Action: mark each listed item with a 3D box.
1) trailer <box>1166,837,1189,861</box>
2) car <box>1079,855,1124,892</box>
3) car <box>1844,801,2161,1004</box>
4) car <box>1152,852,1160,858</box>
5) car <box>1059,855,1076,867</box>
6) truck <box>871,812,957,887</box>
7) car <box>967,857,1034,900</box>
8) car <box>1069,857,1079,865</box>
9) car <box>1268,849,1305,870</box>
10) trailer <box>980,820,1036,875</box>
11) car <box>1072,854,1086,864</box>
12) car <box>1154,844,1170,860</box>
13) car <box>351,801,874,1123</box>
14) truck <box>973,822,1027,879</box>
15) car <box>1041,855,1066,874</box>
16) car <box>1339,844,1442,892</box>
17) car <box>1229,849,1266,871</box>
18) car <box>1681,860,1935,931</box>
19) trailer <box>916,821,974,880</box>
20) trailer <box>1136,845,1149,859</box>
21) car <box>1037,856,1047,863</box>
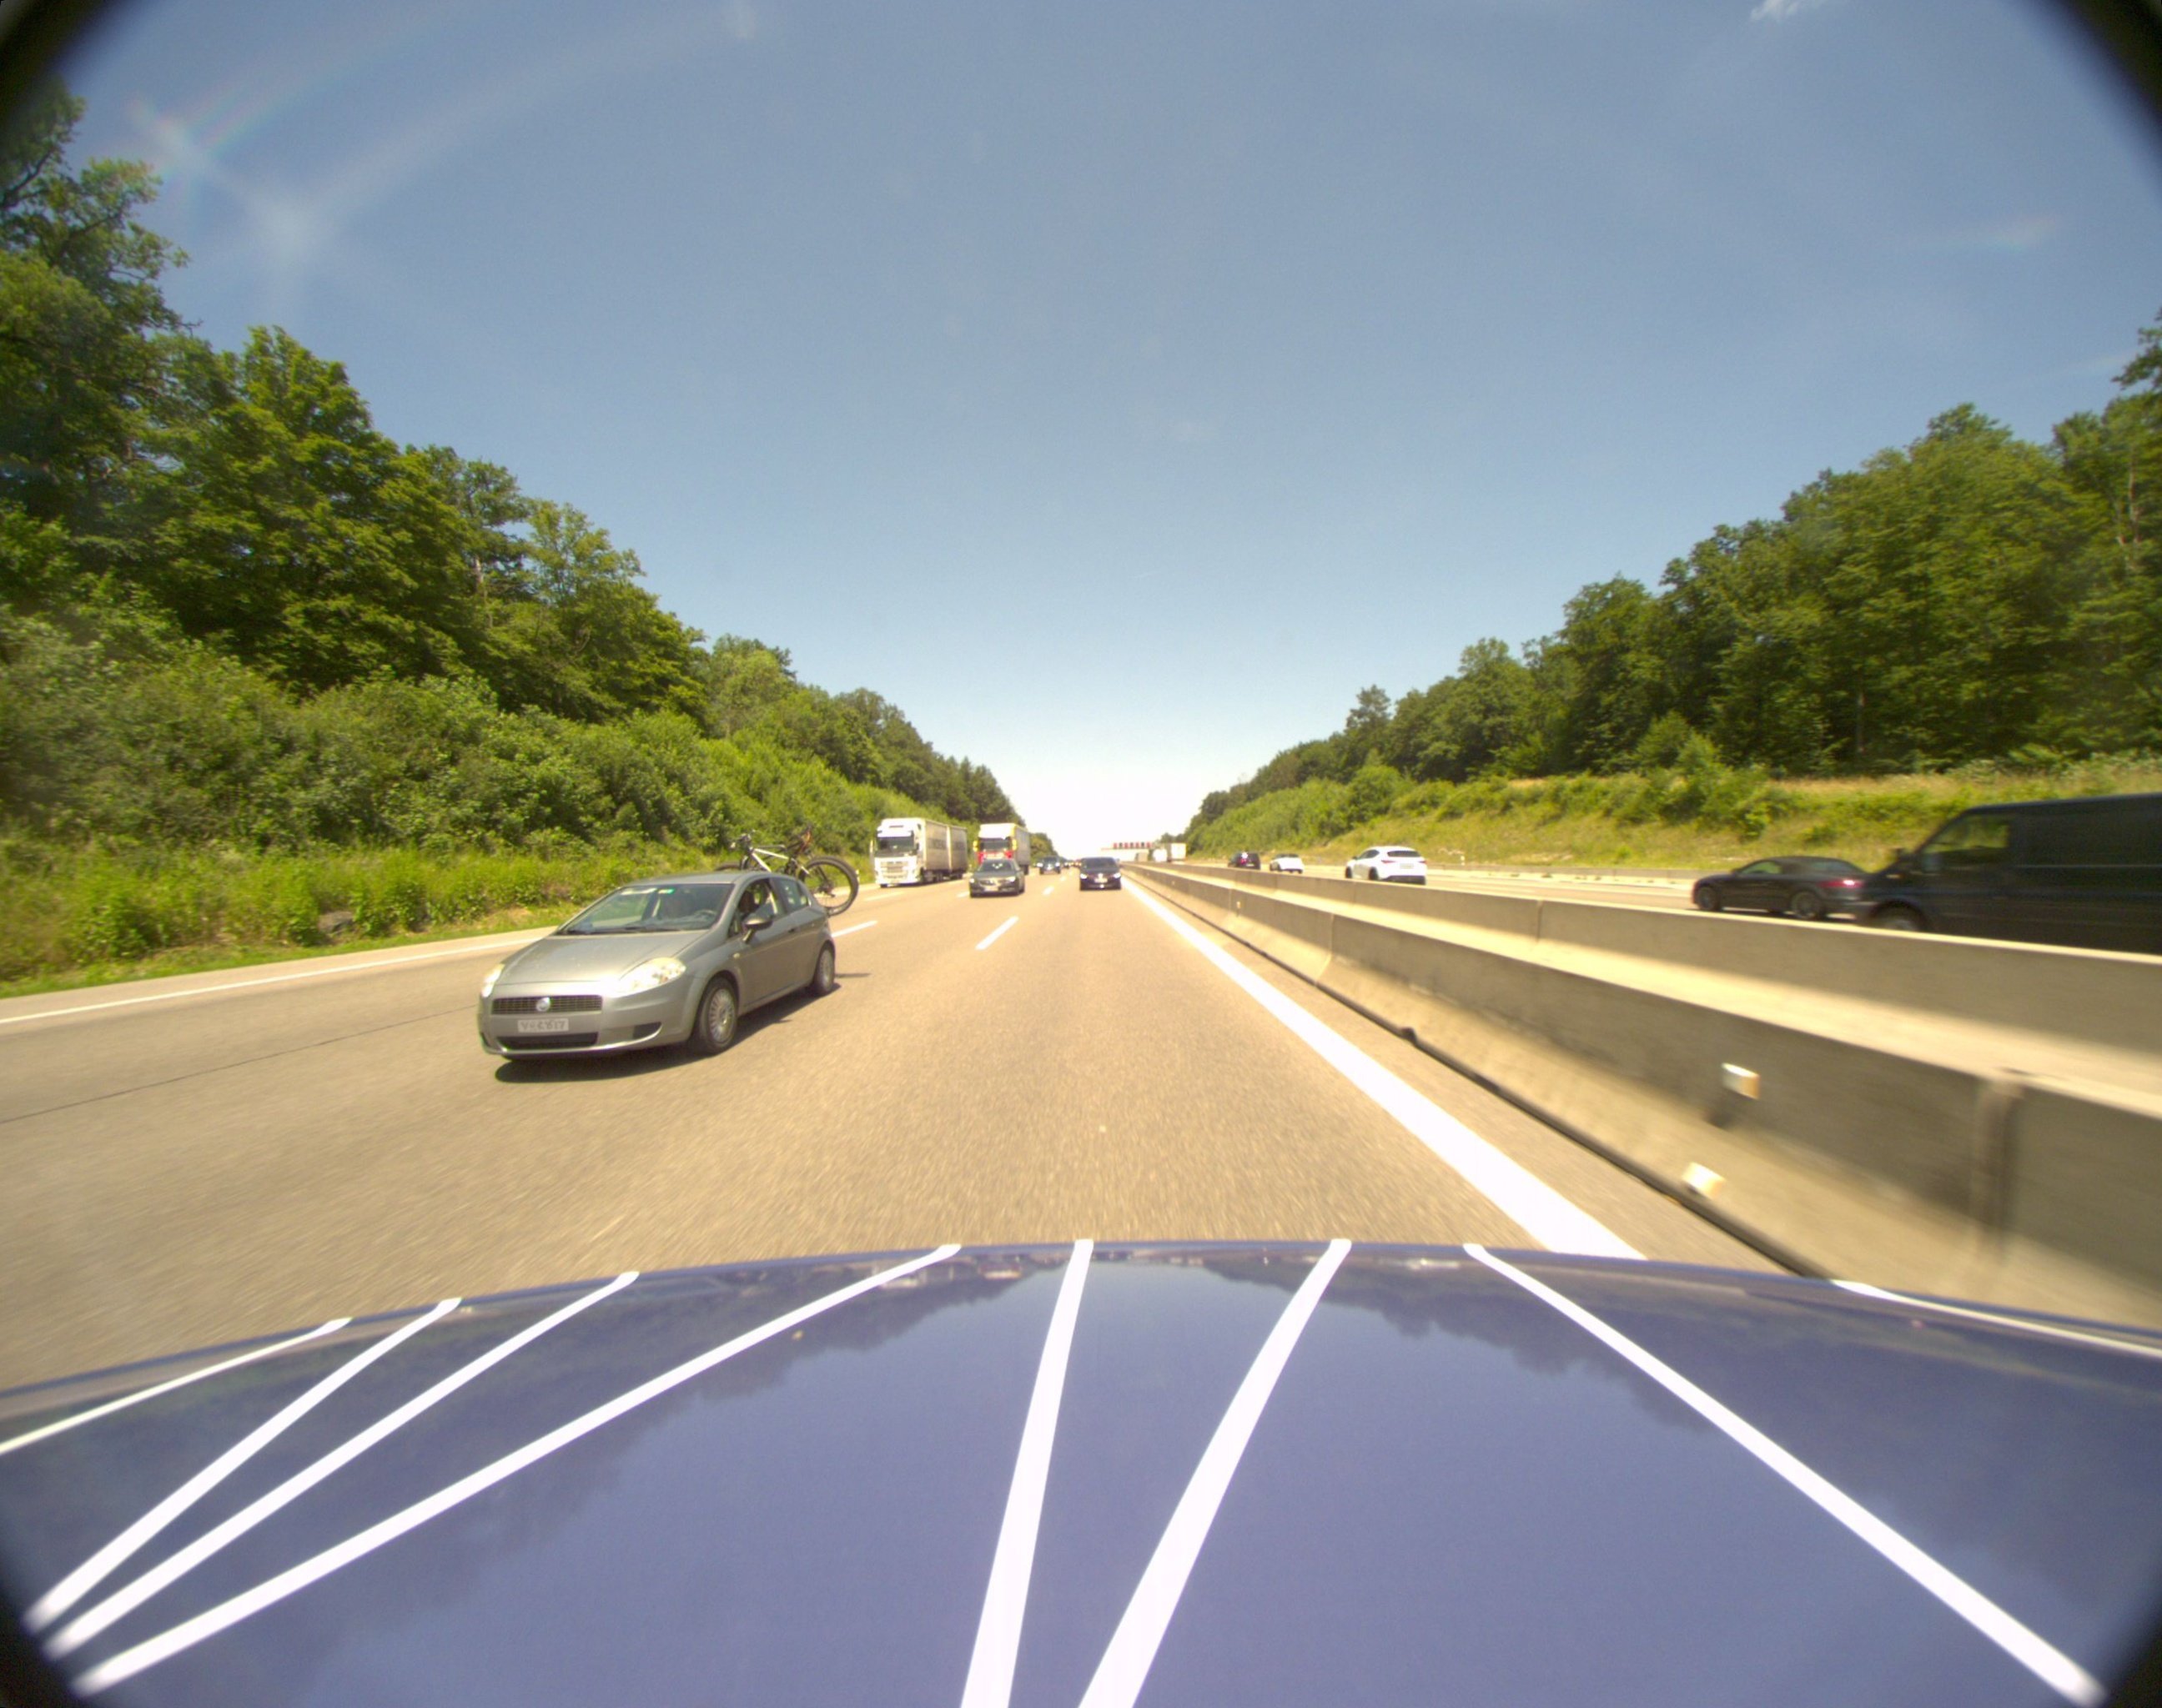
[{"bbox_3d":[17.435,-0.960,138.278,2.932,4.060,13.840,-1,0,2],"label":"trailer"},{"bbox_3d":[0.898,0.795,33.284,1.777,1.425,4.143,-3,0,1],"label":"car"},{"bbox_3d":[11.657,0.466,8.174,1.999,2.002,4.811,-1,1,-1],"label":"car"},{"bbox_3d":[18.299,0.301,185.893,1.671,1.399,4.440,-1,0,1],"label":"car"},{"bbox_3d":[-1.743,0.928,100.599,1.910,1.504,4.160,-3,0,2],"label":"car"},{"bbox_3d":[-10.409,-0.265,48.715,2.728,4.136,10.969,-3,0,1],"label":"truck"},{"bbox_3d":[-3.152,0.917,30.884,1.972,1.444,5.224,-3,0,1],"label":"car"},{"bbox_3d":[-1.211,1.238,134.910,1.715,1.308,3.490,-1,1,1],"label":"car"},{"bbox_3d":[15.986,0.423,59.320,1.748,1.553,4.422,1,1,2],"label":"car"},{"bbox_3d":[-5.916,-0.464,64.359,2.926,4.118,14.849,-1,0,1],"label":"trailer"},{"bbox_3d":[-0.289,0.817,121.634,1.910,1.504,4.160,-3,0,2],"label":"car"},{"bbox_3d":[13.837,-0.358,130.443,2.090,2.783,7.603,-1,1,2],"label":"car"},{"bbox_3d":[-3.736,0.710,7.398,1.966,2.041,4.784,-3,0,1],"label":"car"},{"bbox_3d":[-6.025,-0.224,57.722,3.018,3.957,7.540,-2,0,1],"label":"truck"},{"bbox_3d":[-2.456,0.907,68.127,1.910,1.504,4.160,-3,0,2],"label":"car"},{"bbox_3d":[11.819,0.472,29.417,1.998,1.659,4.930,-1,1,0],"label":"car"},{"bbox_3d":[12.201,0.420,56.084,1.805,1.540,4.729,-1,1,1],"label":"car"},{"bbox_3d":[15.551,0.808,16.635,1.491,1.297,4.300,1,0,1],"label":"car"},{"bbox_3d":[-10.207,-0.250,57.940,2.585,4.046,8.383,-3,0,1],"label":"trailer"},{"bbox_3d":[18.739,-0.667,233.189,3.108,4.228,13.841,0,0,1],"label":"trailer"},{"bbox_3d":[-8.490,1.260,166.833,1.910,1.503,4.159,-1,0,0],"label":"car"}]
